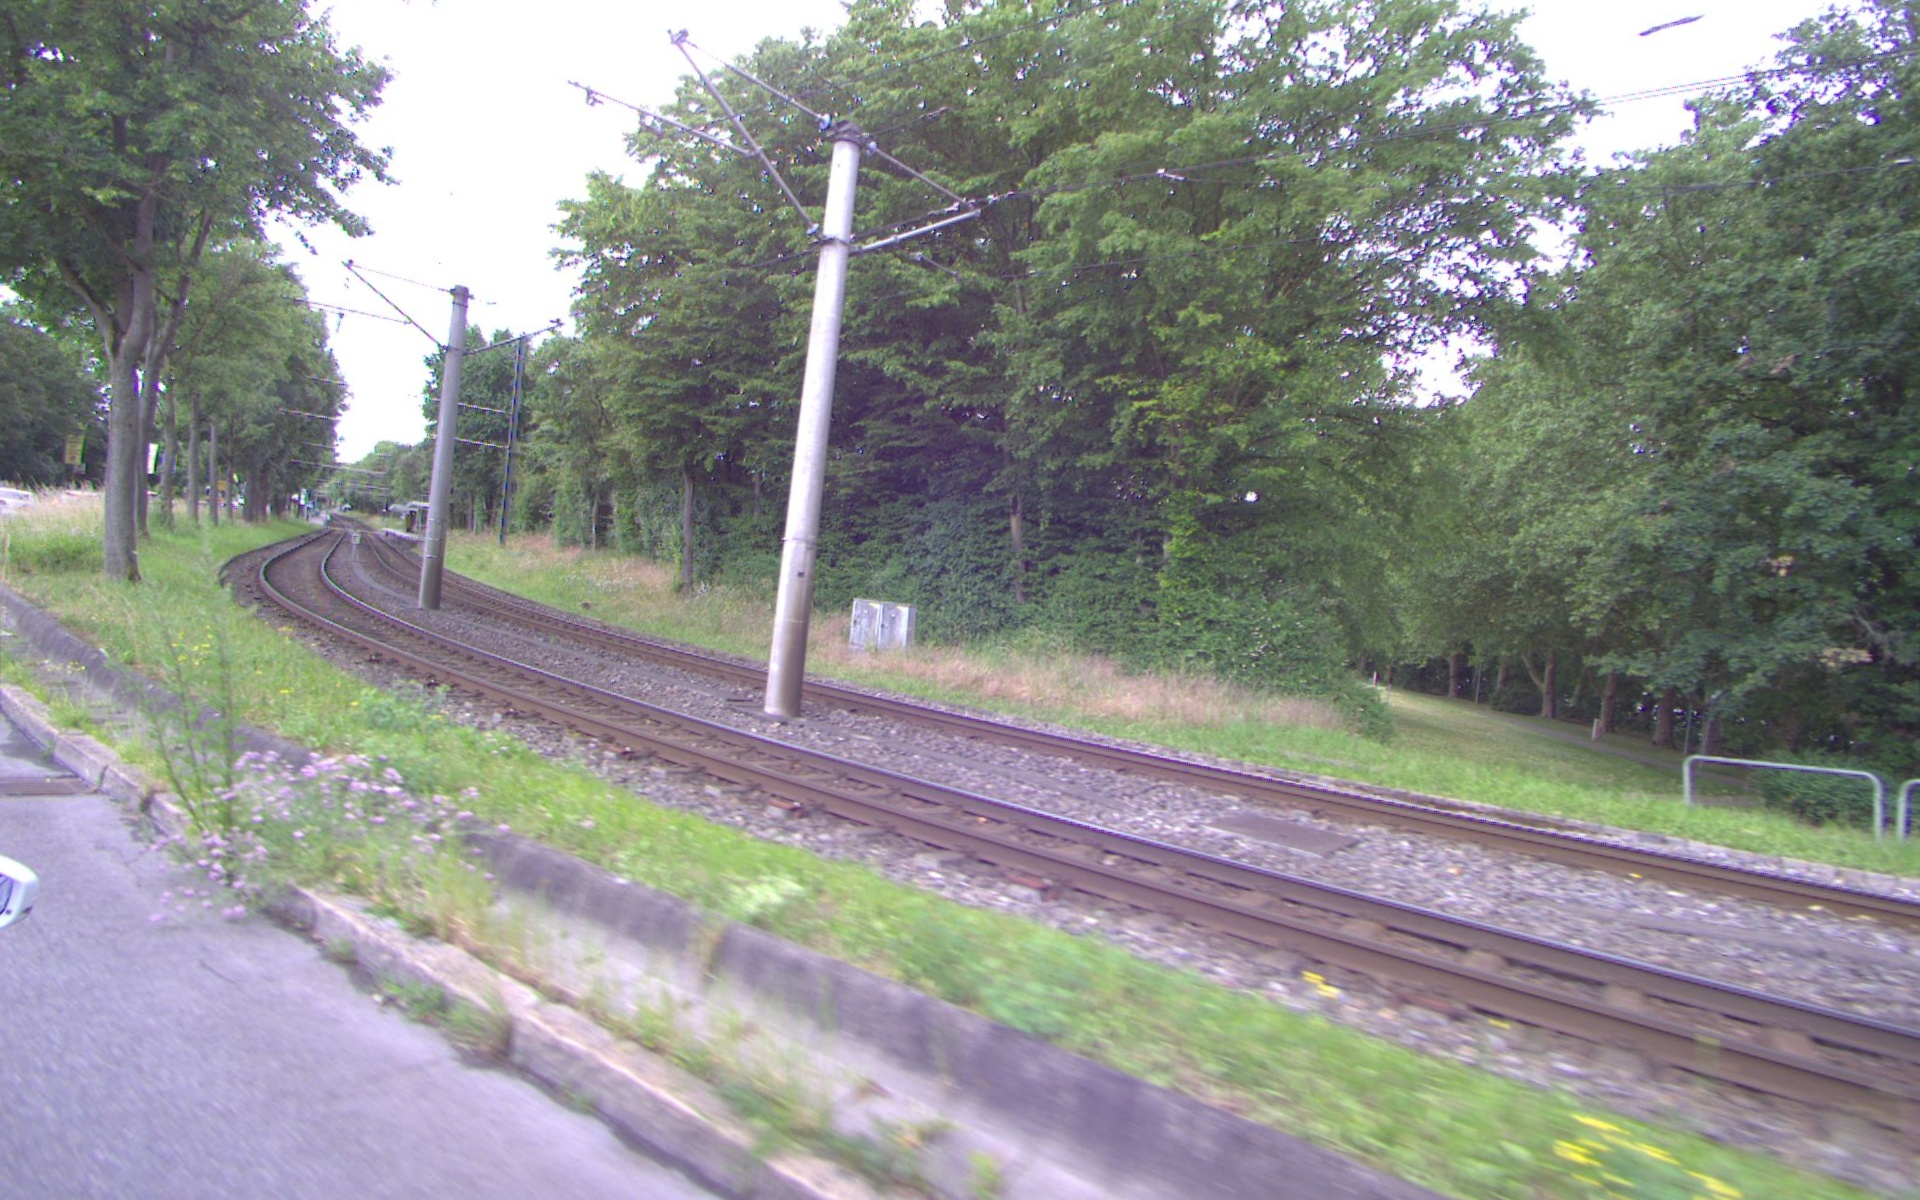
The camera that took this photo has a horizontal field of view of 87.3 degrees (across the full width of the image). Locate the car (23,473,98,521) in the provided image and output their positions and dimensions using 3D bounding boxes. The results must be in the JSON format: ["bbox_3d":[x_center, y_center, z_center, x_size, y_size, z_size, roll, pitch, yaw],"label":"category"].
[{"bbox_3d":[-37.510,-4.245,42.026,1.796,1.558,3.961,9,-2,-36],"label":"car"}]

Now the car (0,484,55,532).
[{"bbox_3d":[-30.720,-3.010,32.728,1.492,1.381,3.551,6,0,-37],"label":"car"}]

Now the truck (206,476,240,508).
[{"bbox_3d":[-110.878,-16.168,151.398,2.636,3.986,10.030,8,0,-30],"label":"truck"}]
